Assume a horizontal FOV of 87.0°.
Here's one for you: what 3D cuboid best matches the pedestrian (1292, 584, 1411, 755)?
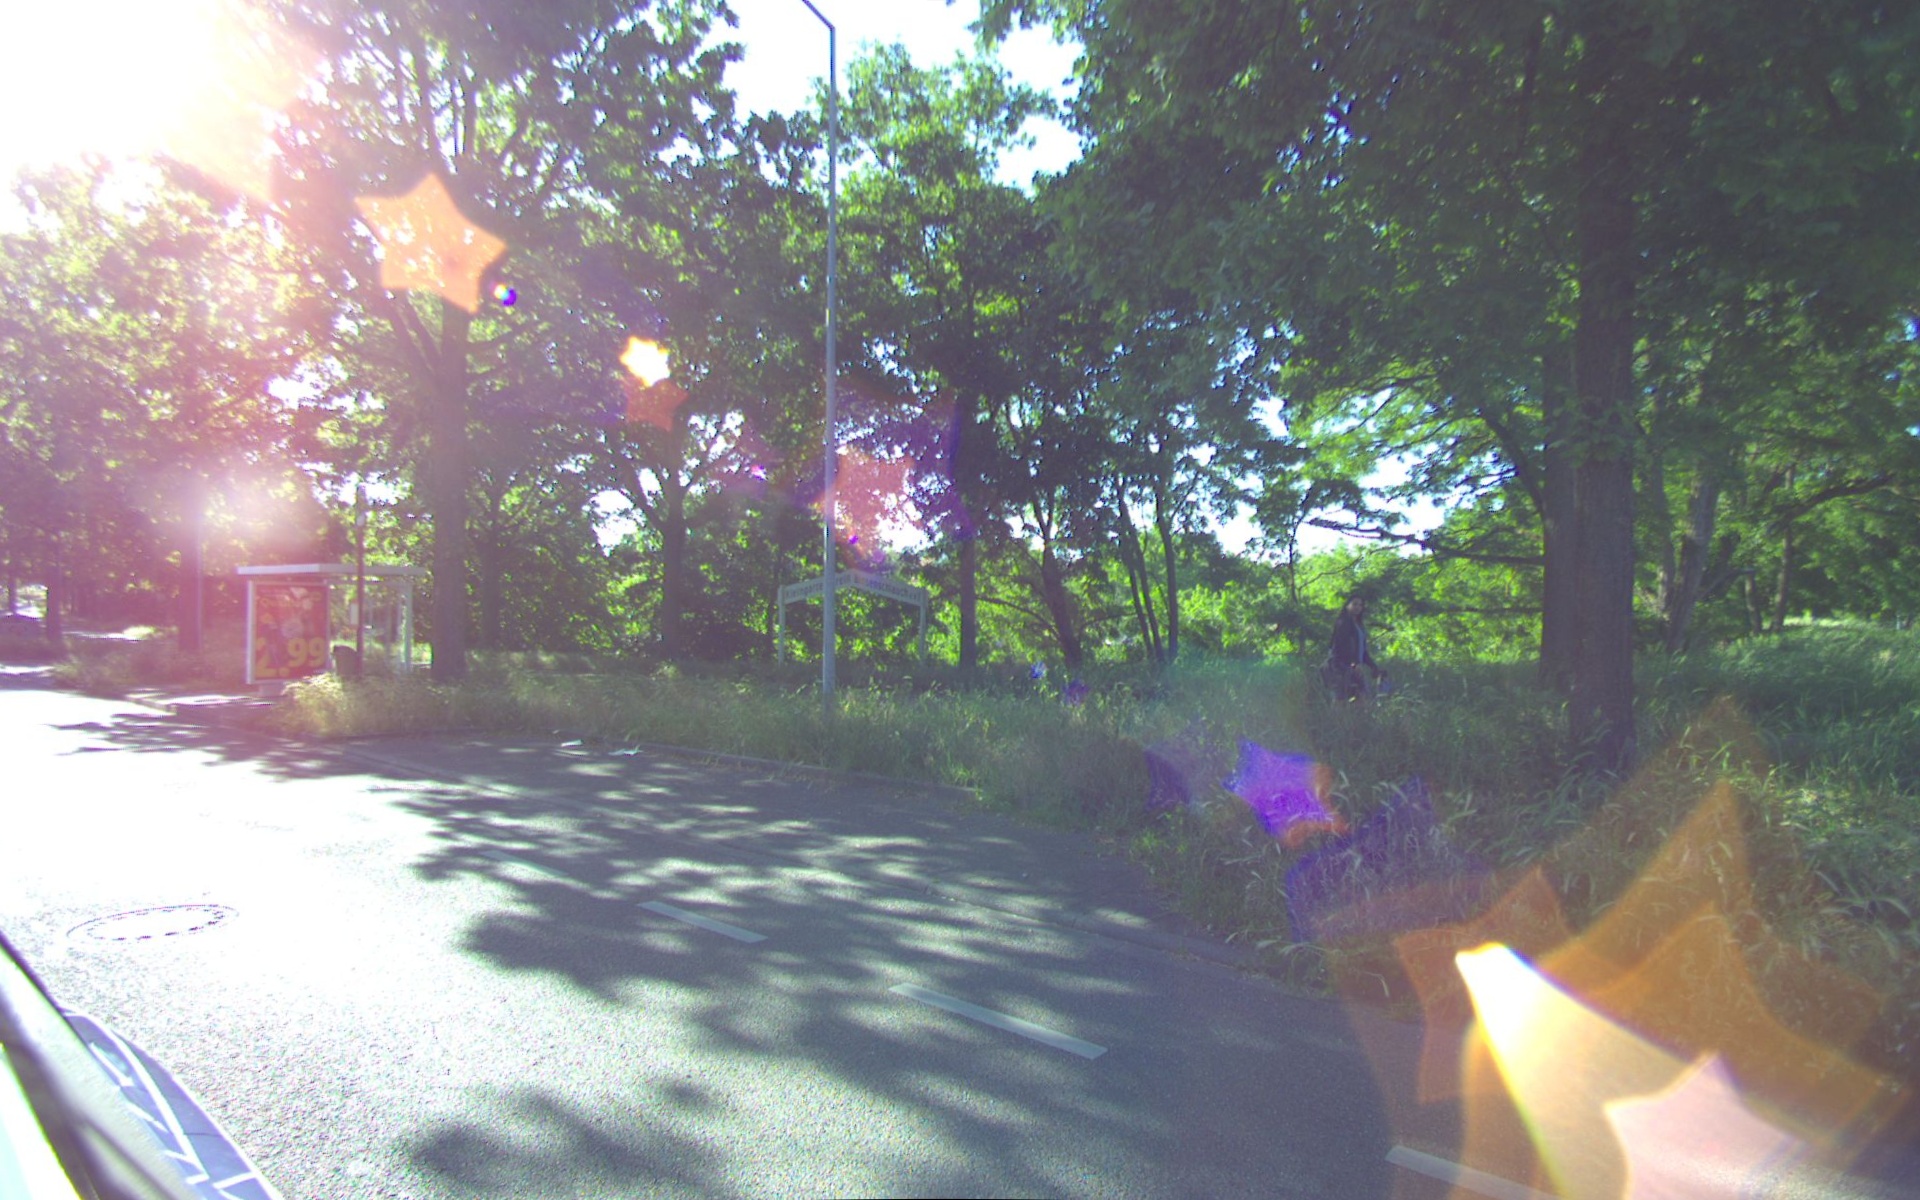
[{"bbox_3d":[4.161,0.700,10.755,0.891,1.701,0.903,-2,-1,42],"label":"pedestrian"}]
